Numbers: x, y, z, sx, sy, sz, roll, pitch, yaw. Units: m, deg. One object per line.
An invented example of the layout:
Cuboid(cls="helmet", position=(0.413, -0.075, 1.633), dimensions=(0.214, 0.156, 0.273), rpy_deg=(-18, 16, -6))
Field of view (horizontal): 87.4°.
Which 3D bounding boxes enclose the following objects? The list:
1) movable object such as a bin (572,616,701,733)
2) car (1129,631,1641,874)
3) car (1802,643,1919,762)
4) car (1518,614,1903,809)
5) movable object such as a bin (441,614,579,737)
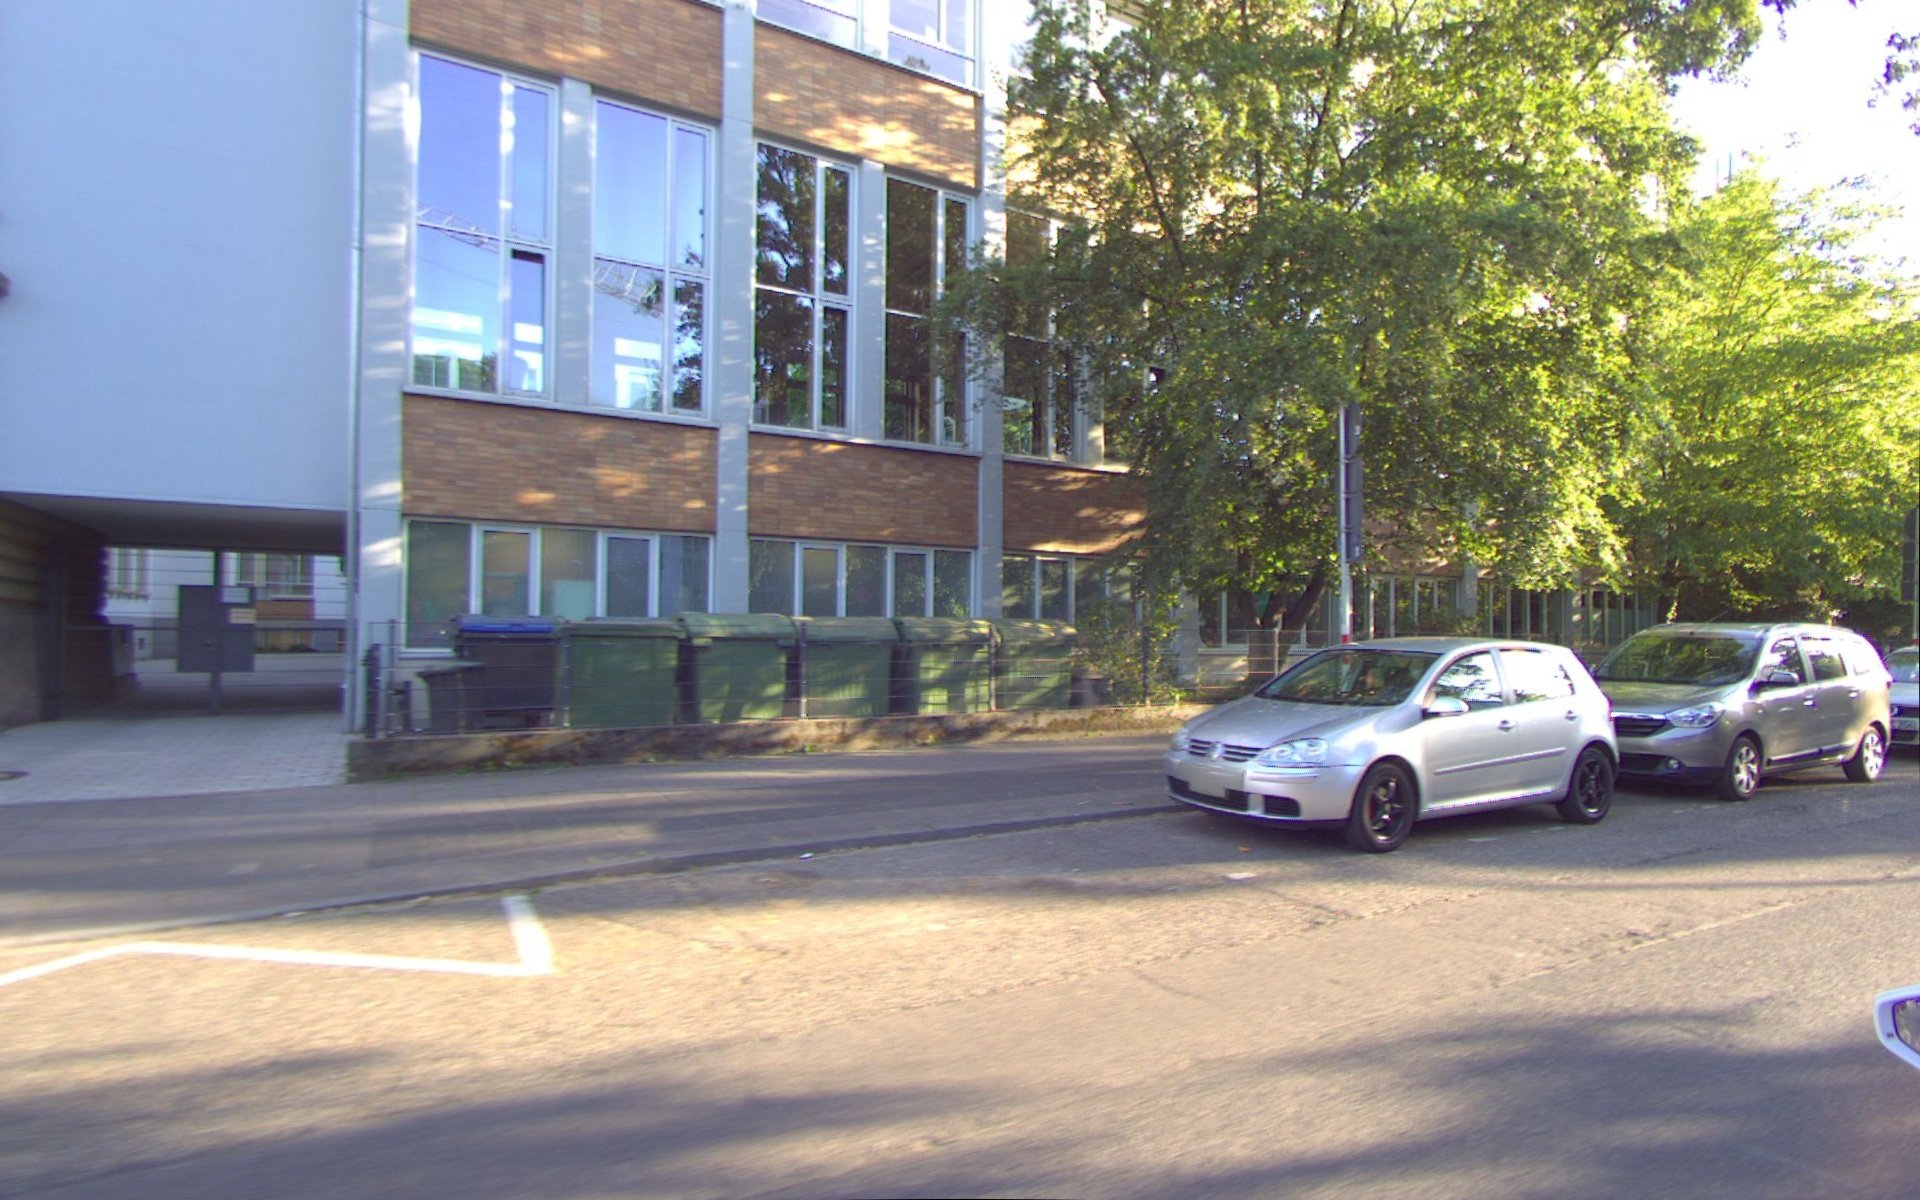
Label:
Cuboid(cls="movable object such as a bin", position=(-4.288, 0.950, 13.288), dimensions=(1.466, 1.449, 1.095), rpy_deg=(1, -1, -26))
Cuboid(cls="car", position=(3.457, 1.027, 8.036), dimensions=(4.012, 1.513, 1.664), rpy_deg=(1, -3, -29))
Cuboid(cls="car", position=(13.572, 1.343, 13.901), dimensions=(3.835, 1.476, 1.672), rpy_deg=(1, -3, -29))
Cuboid(cls="car", position=(8.063, 1.054, 10.718), dimensions=(4.288, 1.731, 1.672), rpy_deg=(1, -3, -29))
Cuboid(cls="movable object such as a bin", position=(-5.644, 0.909, 12.603), dimensions=(1.499, 1.449, 1.095), rpy_deg=(1, -1, -26))
